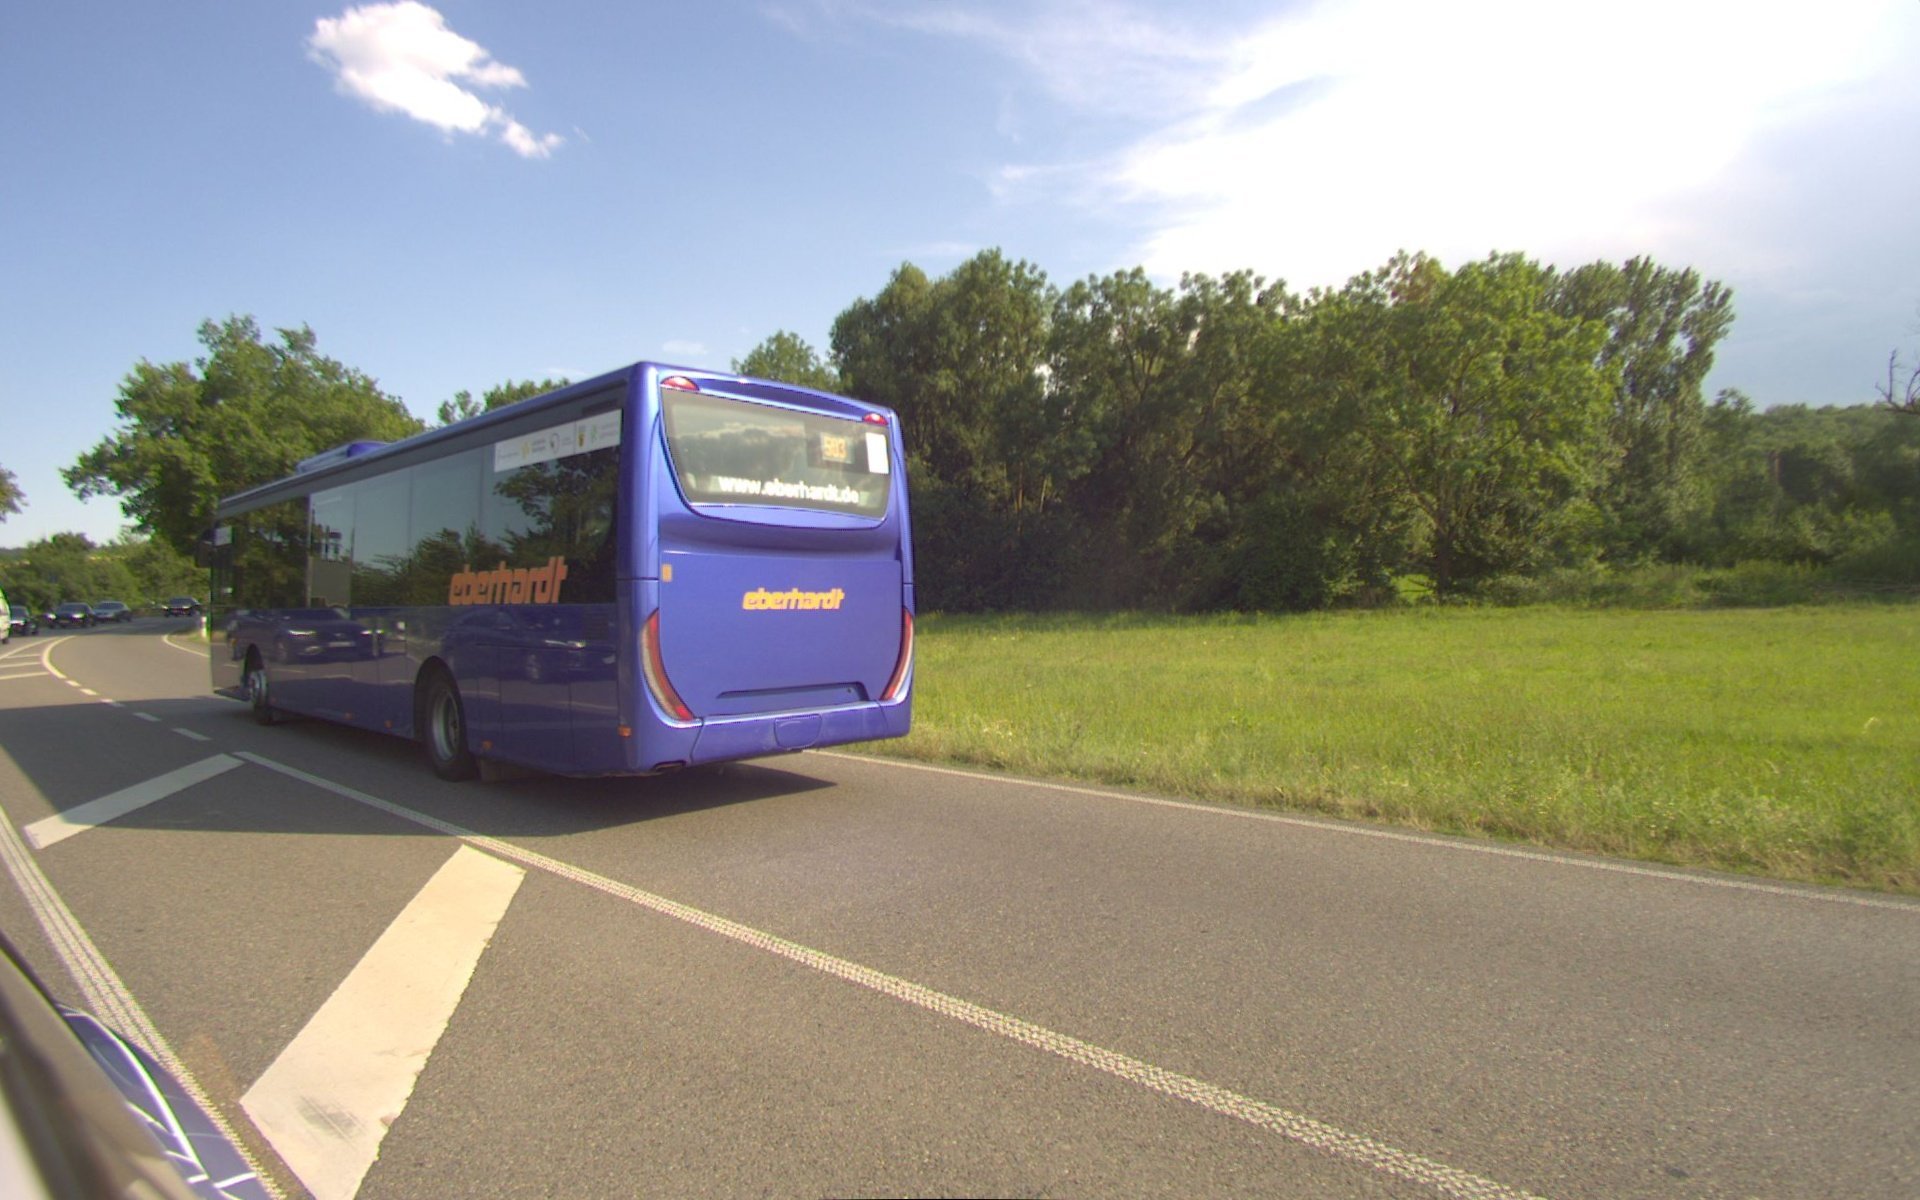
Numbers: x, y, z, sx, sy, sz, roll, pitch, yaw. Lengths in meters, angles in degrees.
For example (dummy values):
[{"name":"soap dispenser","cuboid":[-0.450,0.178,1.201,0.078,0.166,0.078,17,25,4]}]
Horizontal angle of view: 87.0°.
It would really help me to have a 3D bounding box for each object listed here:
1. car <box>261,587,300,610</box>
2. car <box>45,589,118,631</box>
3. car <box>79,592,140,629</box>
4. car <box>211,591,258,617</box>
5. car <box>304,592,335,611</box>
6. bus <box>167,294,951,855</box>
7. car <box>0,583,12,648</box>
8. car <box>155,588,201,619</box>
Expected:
[{"name":"car","cuboid":[-76.342,-0.160,113.821,2.055,2.435,5.157,-1,1,-15]},{"name":"car","cuboid":[-53.757,0.557,62.025,2.054,2.435,5.159,-1,1,-26]},{"name":"car","cuboid":[-59.649,0.716,71.061,2.054,2.435,5.159,-1,1,-26]},{"name":"car","cuboid":[-73.230,0.360,102.252,2.055,2.435,5.157,-1,1,-15]},{"name":"car","cuboid":[-87.292,0.183,138.073,2.055,2.435,5.157,-1,1,-15]},{"name":"bus","cuboid":[-5.489,-0.190,10.907,12.124,3.205,2.764,0,2,42]},{"name":"car","cuboid":[-37.347,0.614,37.875,2.056,2.435,5.154,-2,1,-36]},{"name":"car","cuboid":[-66.322,0.250,85.928,2.054,2.435,5.159,-1,1,-26]}]
